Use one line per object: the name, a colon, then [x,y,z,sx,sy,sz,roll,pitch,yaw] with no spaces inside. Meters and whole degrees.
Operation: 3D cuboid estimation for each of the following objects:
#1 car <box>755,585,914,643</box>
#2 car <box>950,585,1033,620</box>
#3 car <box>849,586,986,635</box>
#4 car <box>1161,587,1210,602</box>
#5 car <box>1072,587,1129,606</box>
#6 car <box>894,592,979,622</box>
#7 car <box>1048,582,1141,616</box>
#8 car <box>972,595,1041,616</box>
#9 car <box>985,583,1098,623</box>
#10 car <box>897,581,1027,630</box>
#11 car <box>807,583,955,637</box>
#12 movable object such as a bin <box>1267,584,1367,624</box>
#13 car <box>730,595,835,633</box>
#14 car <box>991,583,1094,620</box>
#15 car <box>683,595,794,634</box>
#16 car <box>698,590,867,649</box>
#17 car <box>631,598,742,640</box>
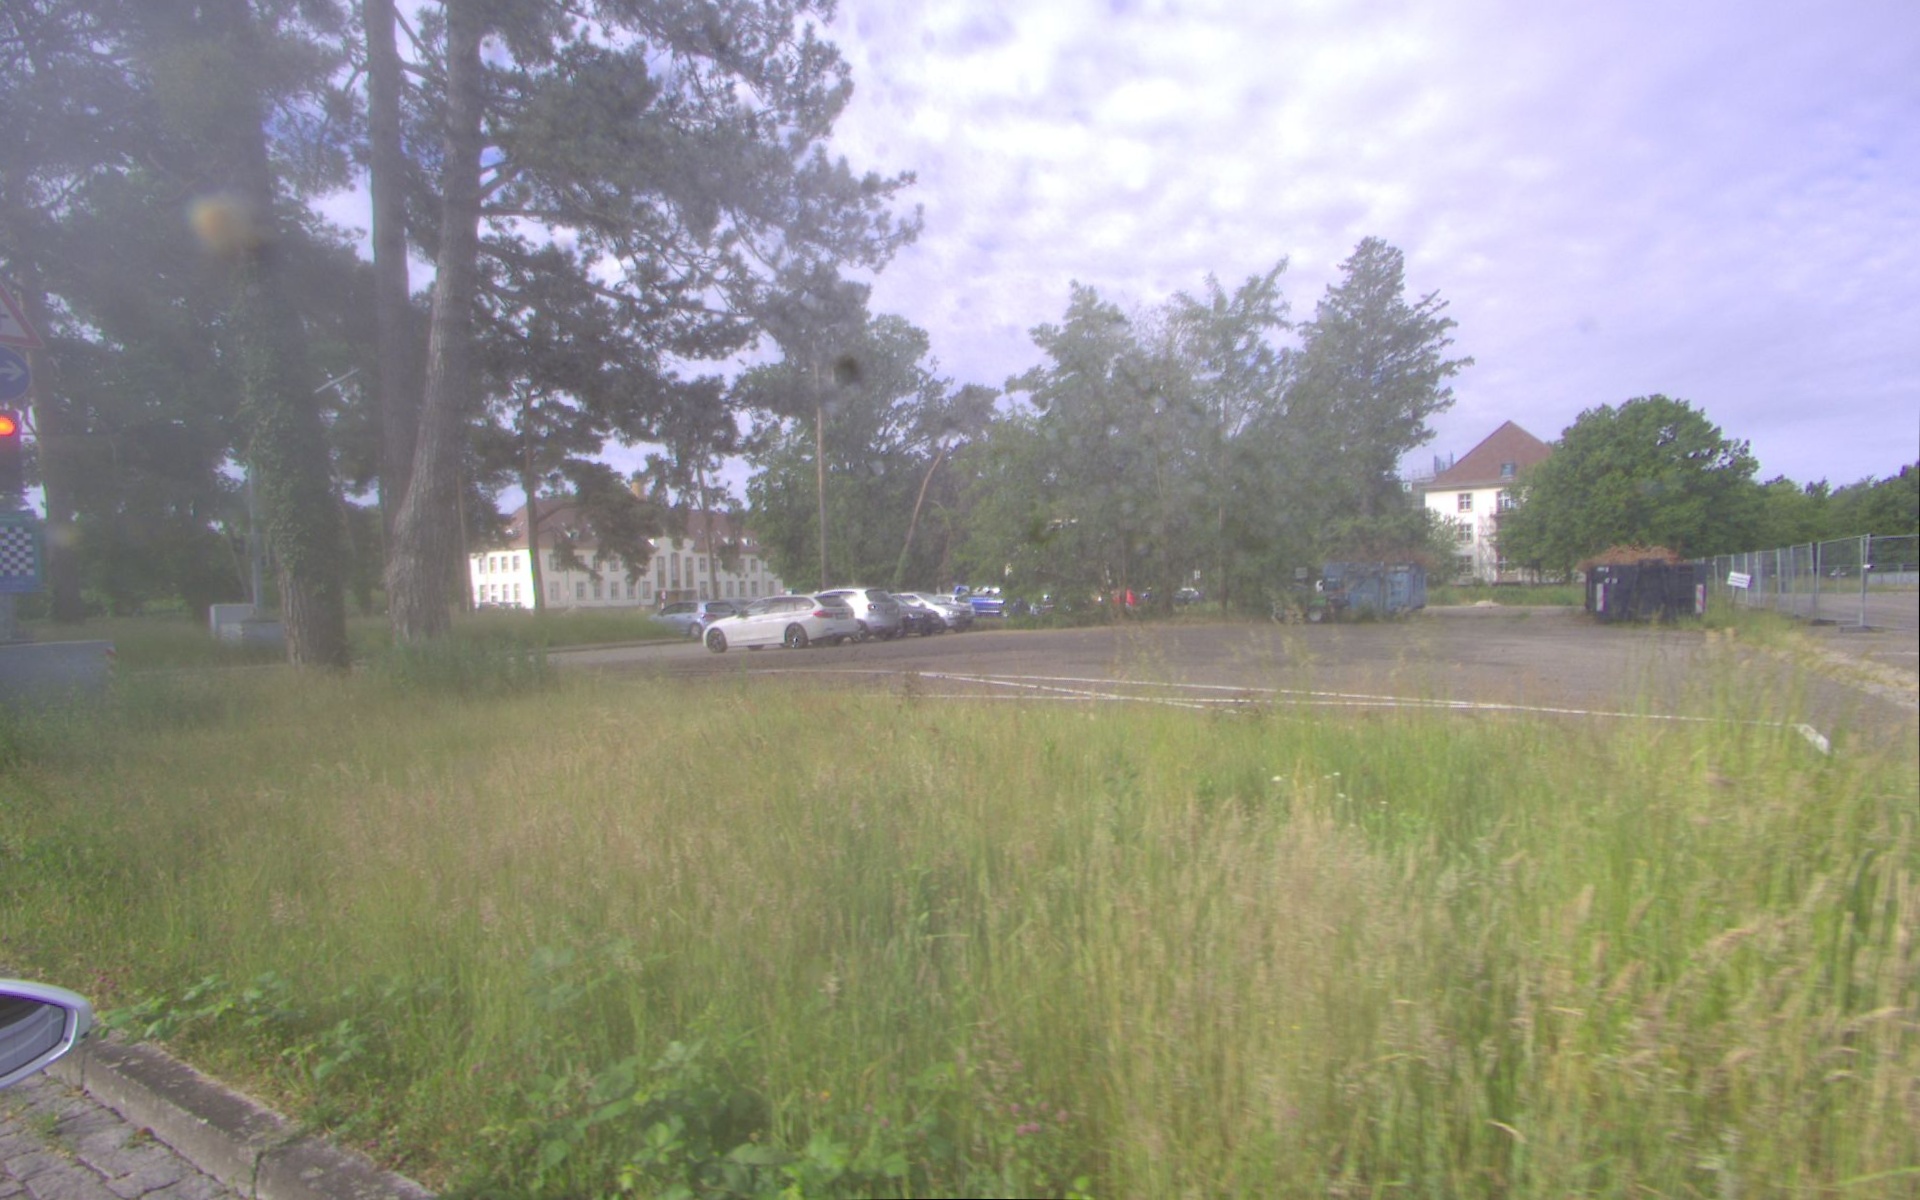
car: [-3.725,0.403,29.517,4.380,1.598,1.864,-1,1,29]
car: [1.841,0.150,59.075,4.586,1.994,1.750,-1,1,29]
car: [-1.478,0.378,34.552,4.380,1.598,1.864,-1,1,29]
car: [19.700,-0.477,87.584,3.937,1.226,1.656,-1,1,27]
car: [10.667,-0.245,76.051,3.937,1.373,1.656,-1,1,27]
car: [-1.307,0.402,54.943,4.380,1.544,1.750,-1,1,29]
car: [6.945,-0.049,51.710,4.380,1.598,1.864,-1,1,29]
car: [2.847,0.328,61.722,3.941,1.226,1.654,-1,1,31]
car: [3.413,0.134,42.242,4.380,1.598,1.864,-1,1,29]
car: [0.071,0.201,36.601,4.380,1.709,1.864,-1,1,29]
car: [-2.536,0.331,31.865,4.380,1.598,1.864,-1,1,29]
movable object such as a bin: [10.087,0.098,28.337,2.505,1.098,1.060,0,2,31]
car: [-7.740,0.622,43.544,4.380,1.544,1.750,-1,1,29]
car: [3.797,0.080,46.446,4.380,1.598,1.864,-1,1,29]
car: [-9.159,0.607,41.295,4.379,1.544,1.750,-1,1,28]
car: [-4.839,0.539,27.174,4.380,1.434,1.750,-2,1,29]
car: [-10.792,0.750,39.447,4.385,1.545,1.747,-1,1,33]
